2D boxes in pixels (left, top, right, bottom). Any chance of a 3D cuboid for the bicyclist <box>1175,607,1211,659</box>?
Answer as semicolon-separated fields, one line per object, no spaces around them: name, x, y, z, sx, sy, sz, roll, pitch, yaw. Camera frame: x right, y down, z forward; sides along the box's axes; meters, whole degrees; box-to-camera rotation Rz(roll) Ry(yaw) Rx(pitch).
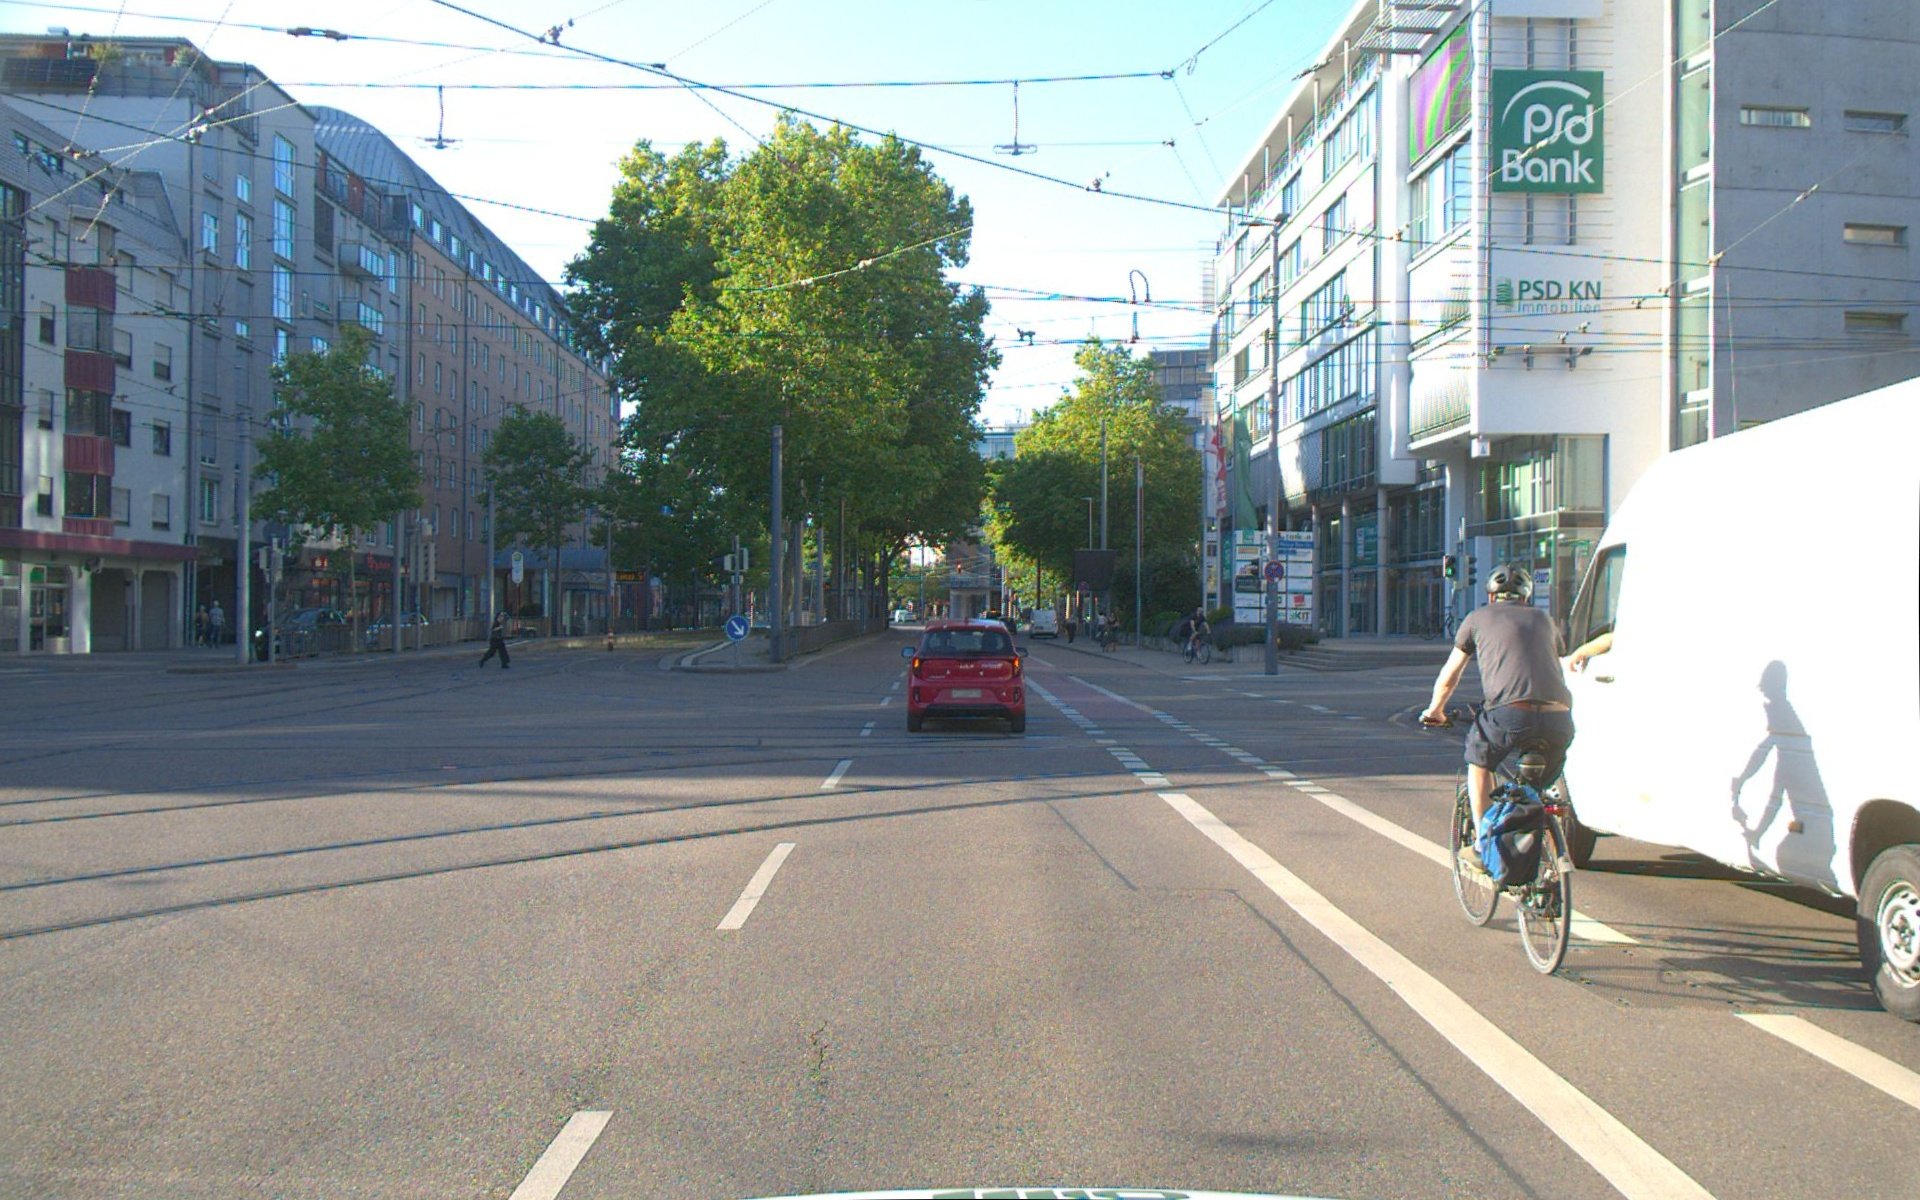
bicyclist;7.514;1.045;53.322;0.710;1.631;1.083;-2;0;-17

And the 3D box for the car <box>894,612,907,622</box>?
car;-9.027;2.570;249.118;1.743;1.561;3.407;1;0;-5

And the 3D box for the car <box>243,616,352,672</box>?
car;-21.455;1.398;53.753;1.915;1.702;4.259;0;0;-1

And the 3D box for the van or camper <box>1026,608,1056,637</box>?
van or camper;5.756;1.585;117.761;1.952;2.024;4.744;1;-1;0

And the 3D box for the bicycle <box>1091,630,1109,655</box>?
bicycle;6.104;1.836;72.069;0.510;0.992;2.201;-3;0;-1

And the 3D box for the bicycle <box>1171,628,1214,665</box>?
bicycle;7.500;1.484;53.403;0.685;1.117;1.742;-3;0;-17

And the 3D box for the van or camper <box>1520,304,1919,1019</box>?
van or camper;4.701;0.259;7.939;1.928;2.764;6.305;1;0;1

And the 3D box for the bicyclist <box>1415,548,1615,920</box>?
bicyclist;2.586;0.591;7.810;0.636;1.631;1.089;0;-1;4

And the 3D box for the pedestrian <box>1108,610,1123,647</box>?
pedestrian;7.880;1.436;83.904;0.529;1.827;0.906;-3;-1;-3

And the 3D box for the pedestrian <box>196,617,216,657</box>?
pedestrian;-29.211;1.427;64.064;0.524;1.520;0.587;0;-1;-4

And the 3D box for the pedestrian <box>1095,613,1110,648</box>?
pedestrian;7.226;1.536;83.840;0.553;1.732;0.906;-3;-1;-3

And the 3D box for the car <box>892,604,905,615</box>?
car;-9.520;1.476;255.134;1.743;1.616;3.407;1;0;-5

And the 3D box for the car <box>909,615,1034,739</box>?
car;0.130;1.006;23.007;1.580;1.561;3.411;1;0;-1

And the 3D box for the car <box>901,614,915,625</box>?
car;-7.651;2.859;242.548;1.743;1.561;3.407;1;0;-5

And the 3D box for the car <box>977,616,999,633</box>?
car;2.740;2.374;161.069;1.743;1.561;3.508;1;0;-5

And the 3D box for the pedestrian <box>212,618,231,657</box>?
pedestrian;-28.660;1.444;64.193;0.524;1.520;0.587;0;-1;-4

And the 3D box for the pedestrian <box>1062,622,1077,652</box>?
pedestrian;5.980;2.029;90.187;0.629;1.607;0.722;-3;-1;-6

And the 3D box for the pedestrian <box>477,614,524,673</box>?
pedestrian;-12.395;1.176;44.655;1.023;1.571;0.695;0;-1;8

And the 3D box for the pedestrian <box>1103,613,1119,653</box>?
pedestrian;6.589;1.439;72.186;0.633;1.710;0.651;0;-1;0

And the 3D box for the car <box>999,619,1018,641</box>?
car;4.102;2.543;139.600;1.602;1.831;3.330;0;0;1

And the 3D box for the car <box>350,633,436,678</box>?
car;-21.821;2.117;63.826;1.915;1.623;4.259;0;0;-1

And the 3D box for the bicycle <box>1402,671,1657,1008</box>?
bicycle;2.596;1.024;7.767;0.636;1.303;1.967;0;-1;4
